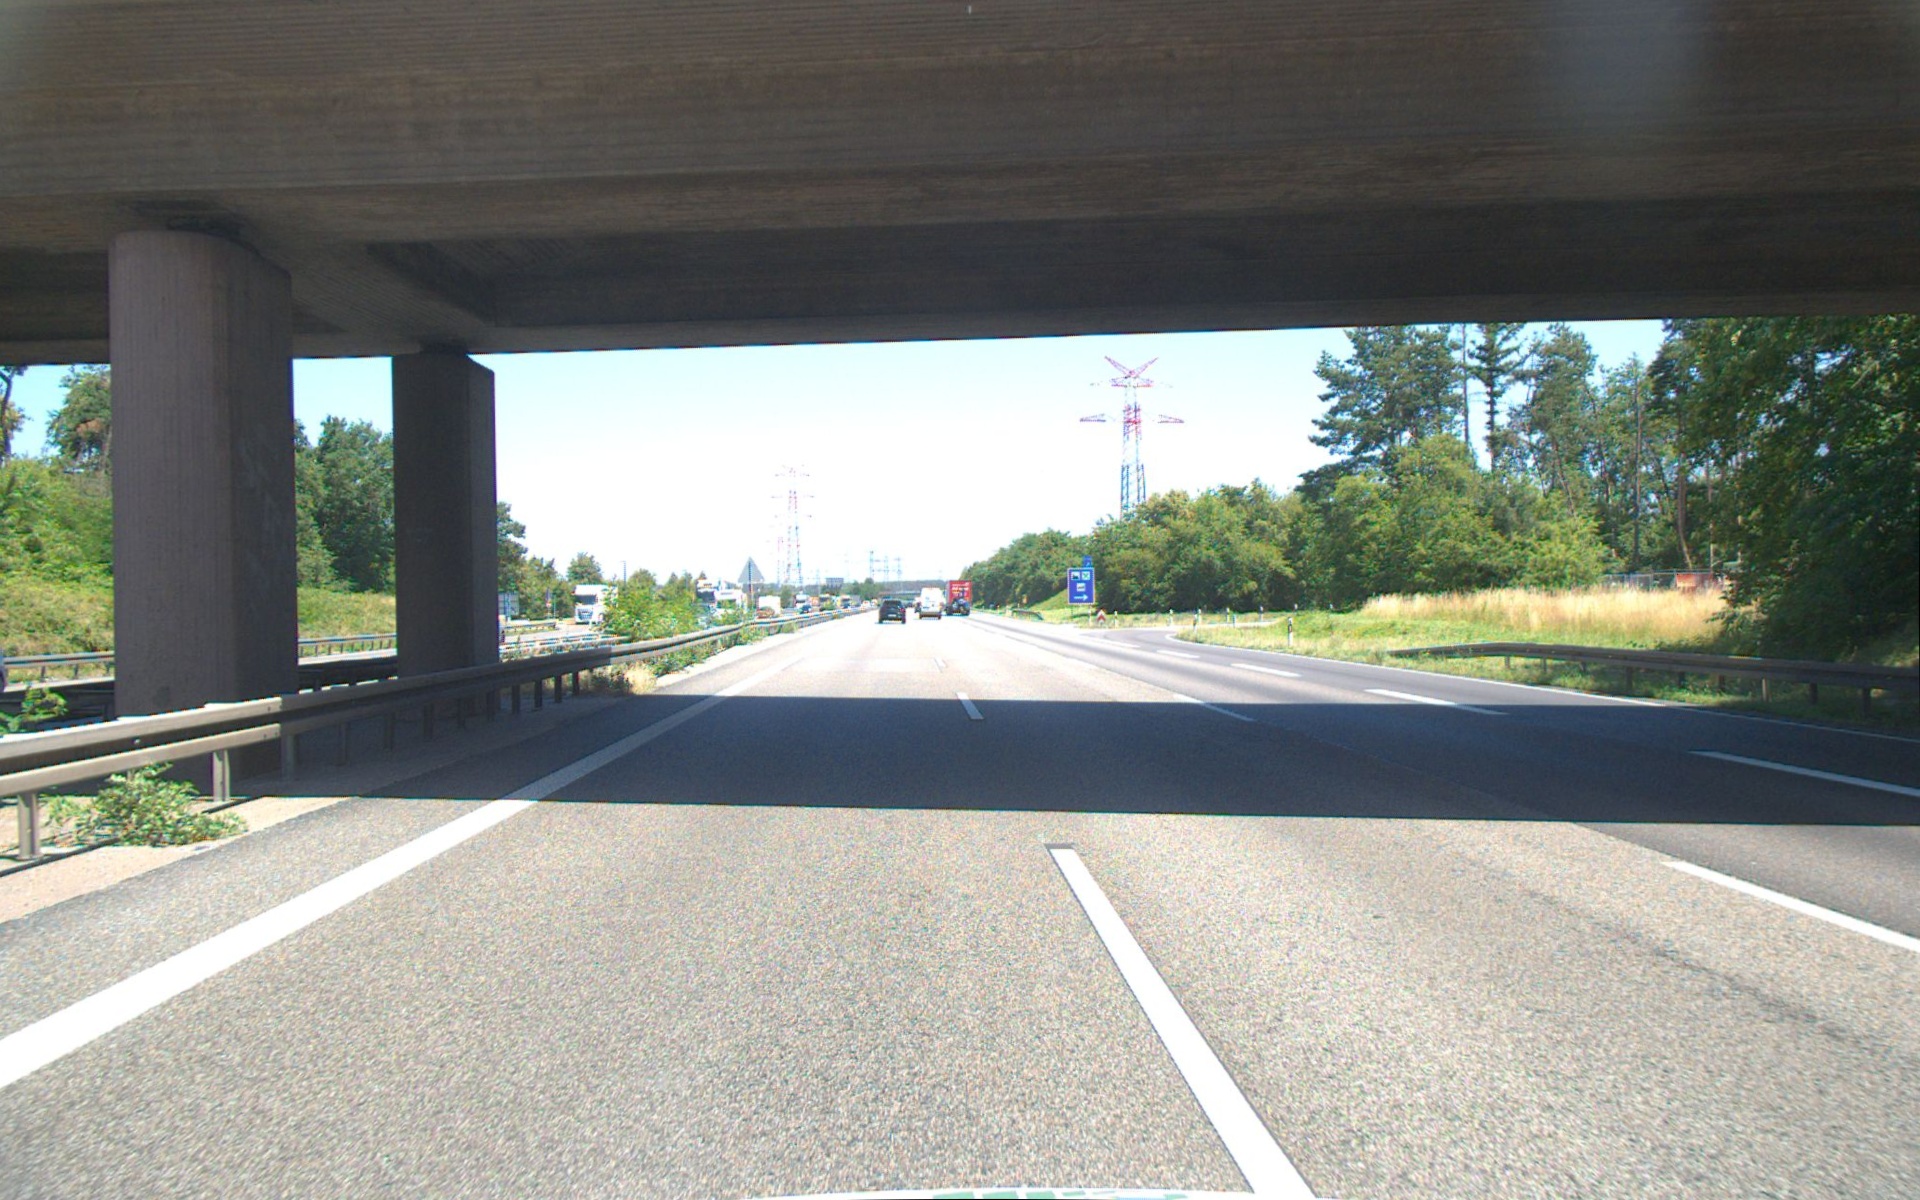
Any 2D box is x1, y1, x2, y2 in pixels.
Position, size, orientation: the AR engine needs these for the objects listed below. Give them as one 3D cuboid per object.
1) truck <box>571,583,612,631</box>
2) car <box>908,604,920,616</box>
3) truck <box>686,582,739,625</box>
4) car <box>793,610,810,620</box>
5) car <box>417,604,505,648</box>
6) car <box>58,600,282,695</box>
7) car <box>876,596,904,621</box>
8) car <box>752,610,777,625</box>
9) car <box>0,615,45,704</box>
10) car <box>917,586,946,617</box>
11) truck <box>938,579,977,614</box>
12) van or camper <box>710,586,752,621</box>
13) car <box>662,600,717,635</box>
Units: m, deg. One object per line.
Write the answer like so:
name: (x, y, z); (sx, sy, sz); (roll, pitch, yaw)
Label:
truck: (-39.674, 0.674, 178.438); (3.011, 4.911, 7.708); (-3, 1, -5)
car: (-6.608, 1.450, 236.012); (1.712, 1.662, 4.002); (1, 0, -2)
truck: (-24.977, 0.352, 167.789); (3.259, 4.066, 16.860); (-1, 0, -2)
car: (-23.718, 2.241, 248.204); (2.183, 1.404, 4.888); (-3, 0, -2)
car: (-20.359, 1.031, 67.686); (2.183, 1.639, 5.057); (-3, 0, -2)
car: (-15.717, 0.885, 33.272); (2.183, 1.639, 5.057); (-3, 0, -2)
car: (-5.006, 0.605, 118.605); (1.953, 1.780, 3.998); (1, 0, -2)
car: (-20.593, 1.790, 174.476); (2.183, 1.404, 4.690); (-3, 0, -2)
car: (-18.993, 1.176, 29.909); (2.183, 1.639, 5.057); (-3, 0, -2)
car: (-2.702, 0.132, 153.206); (2.568, 2.807, 6.094); (1, 0, -2)
truck: (-0.364, -0.462, 199.103); (4.244, 4.010, 16.072); (1, 0, -1)
van or camper: (-19.556, 0.334, 141.453); (2.451, 2.860, 8.559); (-1, 0, -1)
car: (-14.016, 0.868, 85.931); (2.183, 1.639, 5.057); (-3, 0, -2)
